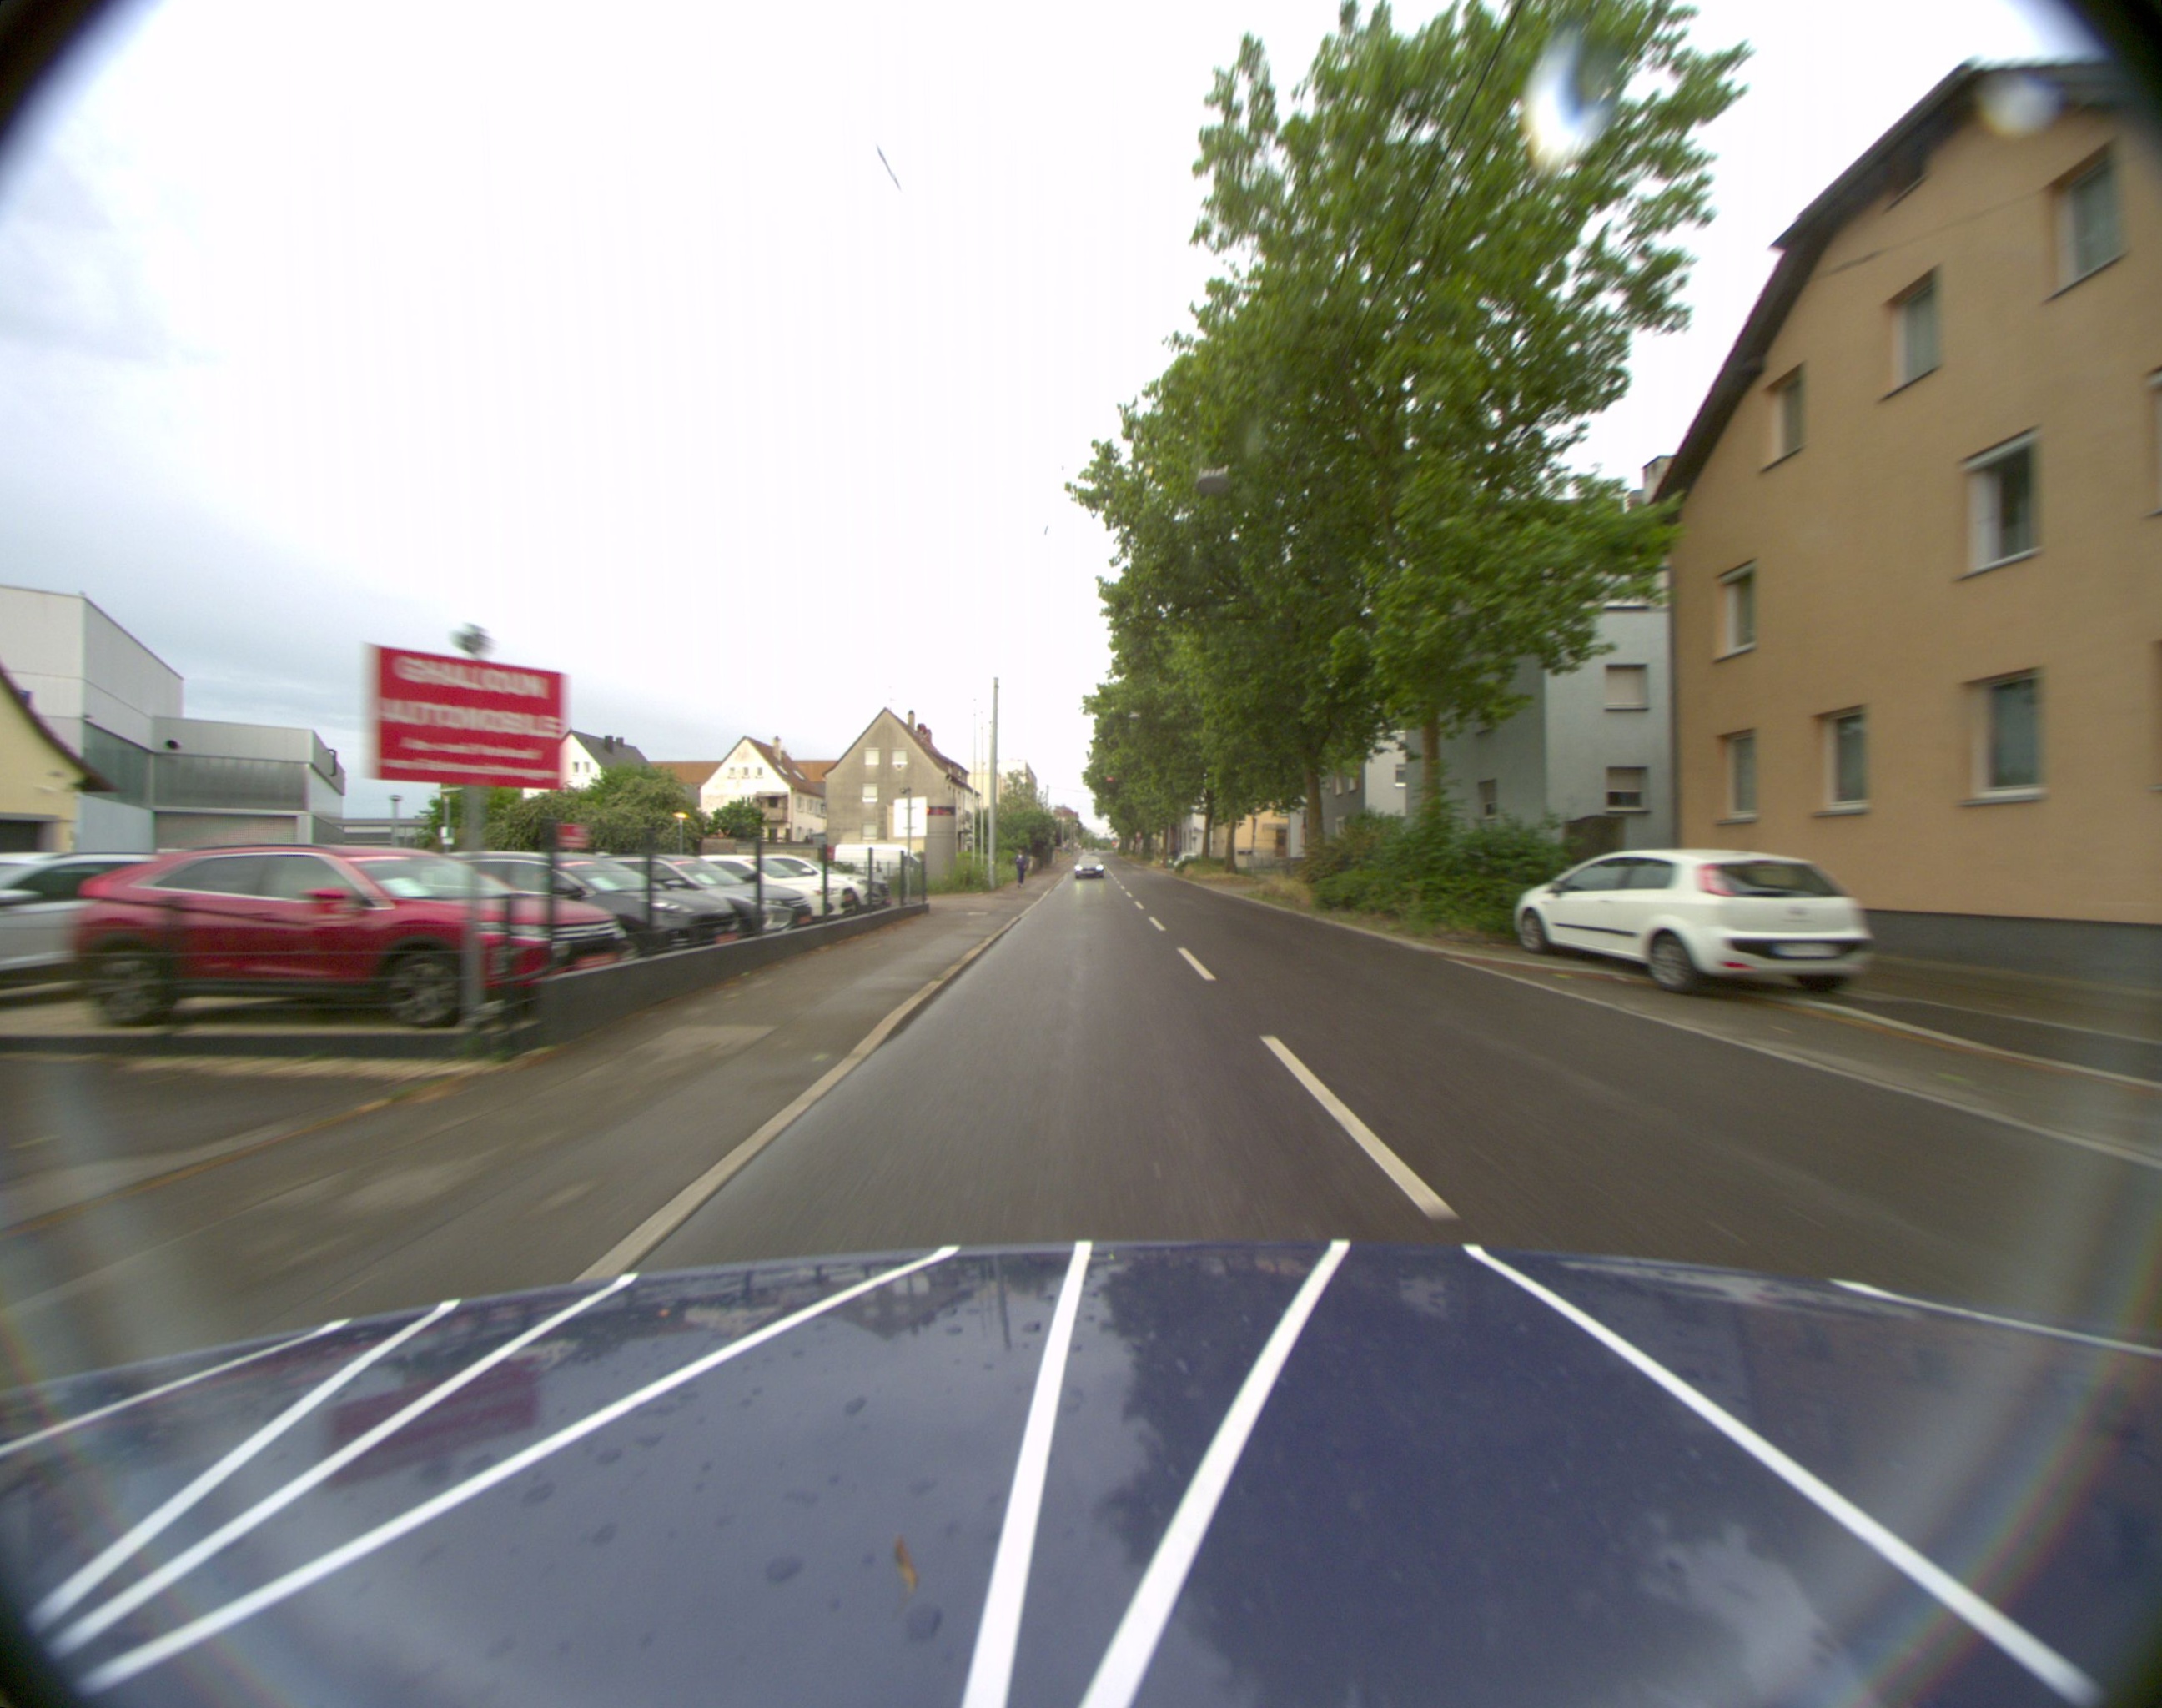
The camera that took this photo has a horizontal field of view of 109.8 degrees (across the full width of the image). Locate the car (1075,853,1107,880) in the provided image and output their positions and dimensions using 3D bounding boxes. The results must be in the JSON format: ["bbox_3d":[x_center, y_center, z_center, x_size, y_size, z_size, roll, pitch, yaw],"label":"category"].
[{"bbox_3d":[0.630,0.779,48.838,1.949,1.644,3.859,-1,0,0],"label":"car"}]

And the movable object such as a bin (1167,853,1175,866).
[{"bbox_3d":[7.836,0.489,66.113,0.536,1.051,0.762,1,2,1],"label":"movable object such as a bin"}]

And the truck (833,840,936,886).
[{"bbox_3d":[-12.392,0.539,48.173,5.859,2.623,2.043,-2,2,0],"label":"truck"}]

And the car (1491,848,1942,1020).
[{"bbox_3d":[7.013,0.744,9.154,1.790,1.542,4.351,-1,0,0],"label":"car"}]

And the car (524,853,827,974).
[{"bbox_3d":[-6.745,0.947,12.981,4.077,1.726,1.869,-2,2,1],"label":"car"}]

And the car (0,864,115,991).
[{"bbox_3d":[-16.033,1.042,10.041,4.095,1.591,1.794,-2,2,-1],"label":"car"}]

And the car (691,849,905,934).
[{"bbox_3d":[-6.661,0.849,18.268,4.313,1.758,1.999,-2,2,1],"label":"car"}]

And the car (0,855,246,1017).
[{"bbox_3d":[-11.444,0.851,7.719,1.812,1.522,3.626,-2,1,0],"label":"car"}]

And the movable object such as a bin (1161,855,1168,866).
[{"bbox_3d":[7.272,0.548,66.059,0.513,0.922,0.581,1,2,1],"label":"movable object such as a bin"}]

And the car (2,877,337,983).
[{"bbox_3d":[-15.677,1.262,13.211,3.772,1.523,1.759,-2,1,3],"label":"car"}]

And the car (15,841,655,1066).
[{"bbox_3d":[-6.796,0.828,7.324,4.239,1.726,1.869,-2,2,1],"label":"car"}]

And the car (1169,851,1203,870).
[{"bbox_3d":[7.961,0.472,58.072,1.760,1.318,4.537,-2,1,-2],"label":"car"}]

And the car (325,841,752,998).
[{"bbox_3d":[-6.946,0.783,10.100,4.239,1.726,1.869,-2,2,1],"label":"car"}]

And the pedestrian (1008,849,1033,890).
[{"bbox_3d":[-2.806,0.715,35.276,1.045,1.886,0.900,-1,2,1],"label":"pedestrian"}]

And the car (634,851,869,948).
[{"bbox_3d":[-6.627,0.887,15.601,3.958,1.714,1.791,-2,1,1],"label":"car"}]
